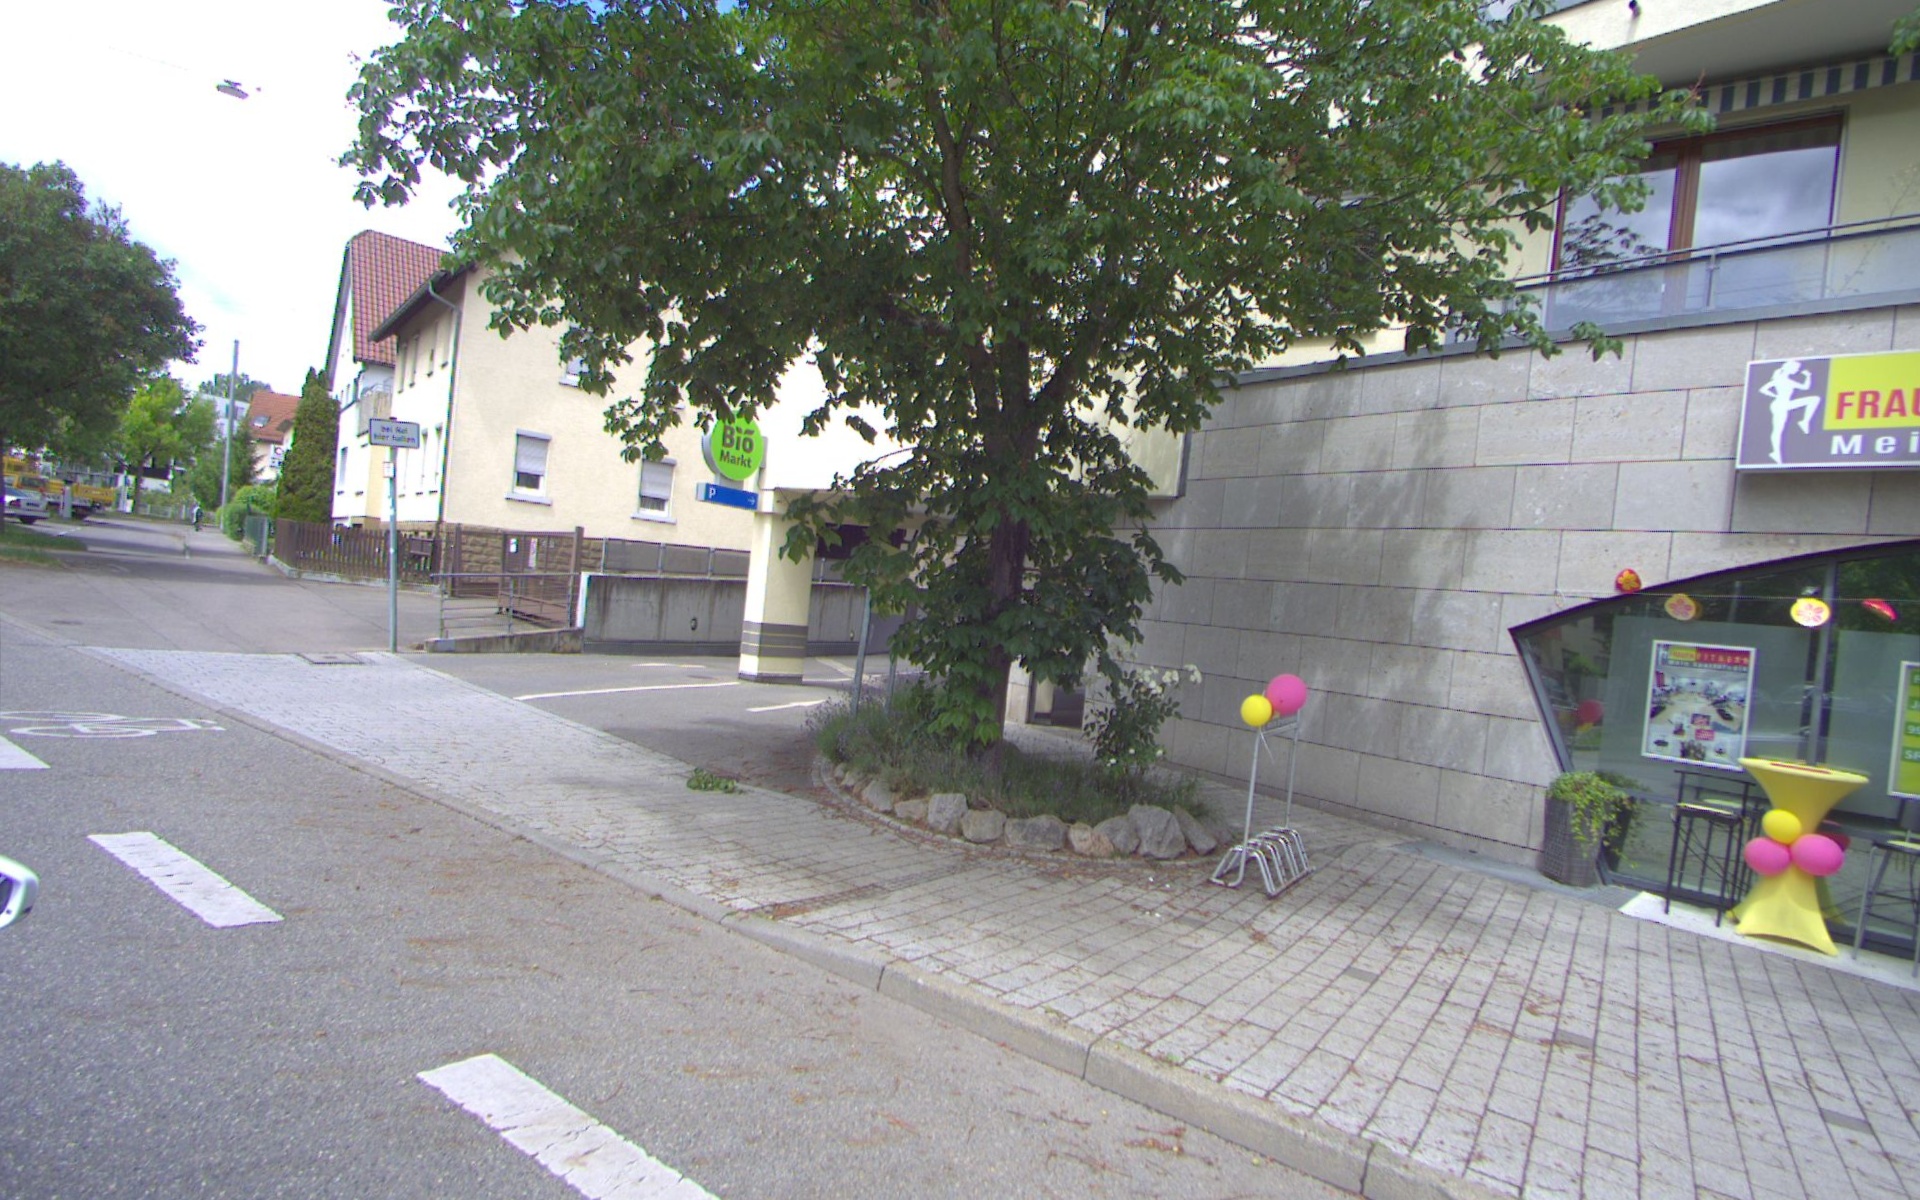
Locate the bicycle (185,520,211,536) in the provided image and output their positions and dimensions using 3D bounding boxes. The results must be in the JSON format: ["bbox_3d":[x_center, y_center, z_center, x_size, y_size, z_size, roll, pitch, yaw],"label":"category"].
[{"bbox_3d":[-46.184,-4.369,60.965,1.725,0.821,0.595,6,-2,31],"label":"bicycle"}]

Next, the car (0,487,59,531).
[{"bbox_3d":[-39.224,-3.882,40.239,4.603,1.469,1.768,7,0,0],"label":"car"}]

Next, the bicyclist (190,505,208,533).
[{"bbox_3d":[-46.142,-4.928,60.994,0.557,1.577,0.590,6,-2,31],"label":"bicyclist"}]

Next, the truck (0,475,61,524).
[{"bbox_3d":[-49.410,-5.364,50.929,5.577,2.036,2.000,8,-2,-4],"label":"truck"}]

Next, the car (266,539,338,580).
[{"bbox_3d":[-22.919,-1.420,34.992,1.457,1.137,3.827,9,-3,-41],"label":"car"}]

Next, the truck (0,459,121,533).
[{"bbox_3d":[-49.671,-5.700,53.952,6.585,3.042,2.771,8,-2,-2],"label":"truck"}]
